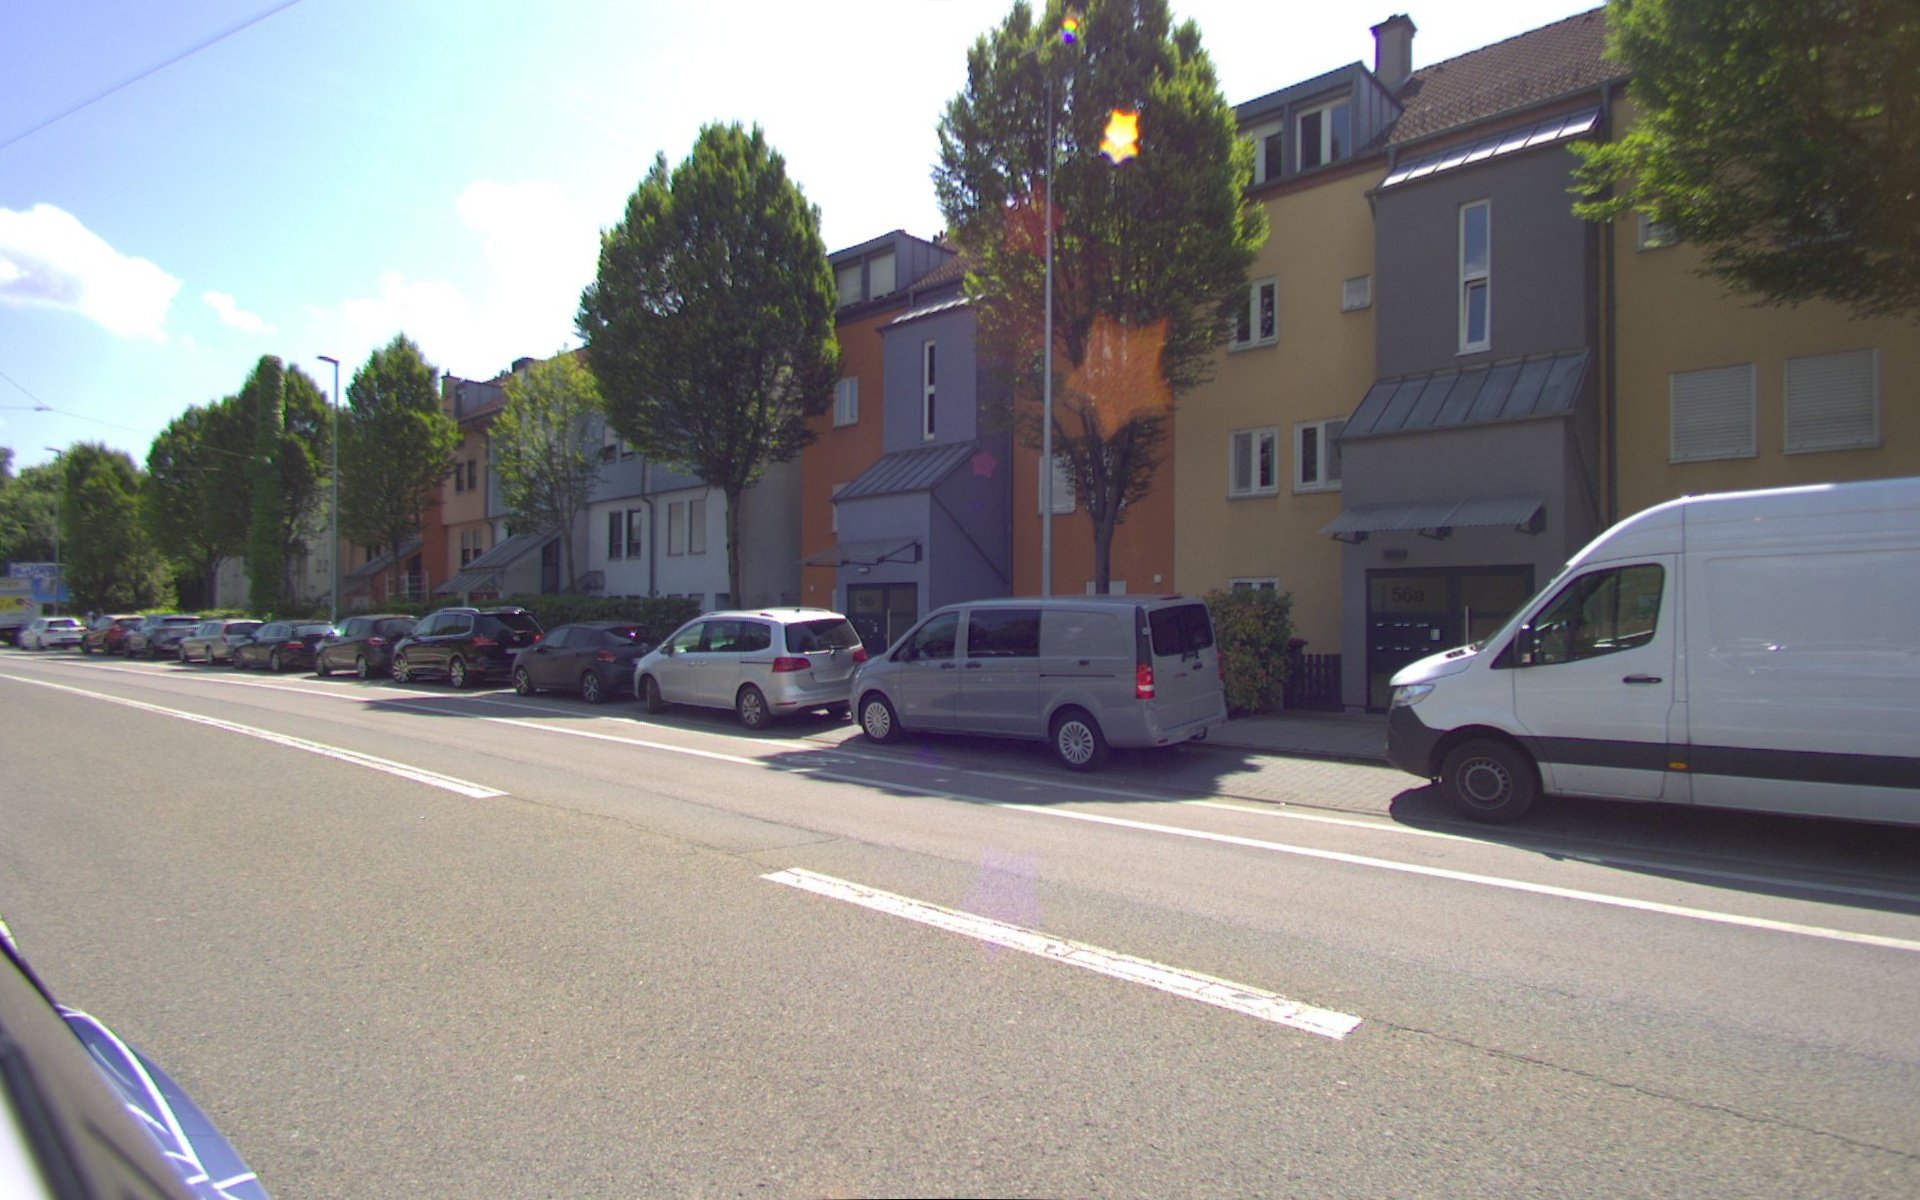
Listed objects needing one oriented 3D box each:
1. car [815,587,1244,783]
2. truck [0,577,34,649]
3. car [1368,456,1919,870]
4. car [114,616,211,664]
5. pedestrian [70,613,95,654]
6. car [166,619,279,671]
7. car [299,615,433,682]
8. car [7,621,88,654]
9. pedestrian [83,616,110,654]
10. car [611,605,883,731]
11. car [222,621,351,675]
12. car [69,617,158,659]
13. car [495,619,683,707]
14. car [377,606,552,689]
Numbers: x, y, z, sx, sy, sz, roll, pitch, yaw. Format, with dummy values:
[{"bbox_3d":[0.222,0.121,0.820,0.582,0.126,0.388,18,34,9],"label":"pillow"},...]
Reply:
[{"bbox_3d":[0.648,0.889,12.725,5.360,1.909,1.788,-1,2,42],"label":"car"},{"bbox_3d":[-51.152,0.710,52.391,8.147,3.575,2.809,-1,1,33],"label":"truck"},{"bbox_3d":[6.970,0.354,7.337,7.034,2.671,2.299,-1,2,43],"label":"car"},{"bbox_3d":[-29.461,1.453,37.350,4.678,1.621,1.641,-1,0,37],"label":"car"},{"bbox_3d":[-42.603,1.629,49.162,0.633,1.937,0.710,0,-2,-14],"label":"pedestrian"},{"bbox_3d":[-25.042,1.475,34.309,4.886,1.519,1.641,0,2,36],"label":"car"},{"bbox_3d":[-15.787,1.227,26.836,4.280,1.630,1.639,0,-2,39],"label":"car"},{"bbox_3d":[-41.218,1.694,45.698,4.384,1.421,1.642,-1,-2,33],"label":"car"},{"bbox_3d":[-41.833,1.678,49.034,0.695,1.808,0.683,0,-2,7],"label":"pedestrian"},{"bbox_3d":[-3.575,0.998,16.353,4.901,1.765,1.699,-1,-2,41],"label":"car"},{"bbox_3d":[-20.352,1.403,30.494,4.956,1.457,1.725,-1,0,38],"label":"car"},{"bbox_3d":[-34.338,1.502,41.021,4.162,1.621,1.642,-1,-1,33],"label":"car"},{"bbox_3d":[-7.329,1.151,19.810,4.083,1.482,1.583,0,-1,39],"label":"car"},{"bbox_3d":[-11.504,1.055,23.335,4.882,1.729,1.734,-1,-2,39],"label":"car"}]
